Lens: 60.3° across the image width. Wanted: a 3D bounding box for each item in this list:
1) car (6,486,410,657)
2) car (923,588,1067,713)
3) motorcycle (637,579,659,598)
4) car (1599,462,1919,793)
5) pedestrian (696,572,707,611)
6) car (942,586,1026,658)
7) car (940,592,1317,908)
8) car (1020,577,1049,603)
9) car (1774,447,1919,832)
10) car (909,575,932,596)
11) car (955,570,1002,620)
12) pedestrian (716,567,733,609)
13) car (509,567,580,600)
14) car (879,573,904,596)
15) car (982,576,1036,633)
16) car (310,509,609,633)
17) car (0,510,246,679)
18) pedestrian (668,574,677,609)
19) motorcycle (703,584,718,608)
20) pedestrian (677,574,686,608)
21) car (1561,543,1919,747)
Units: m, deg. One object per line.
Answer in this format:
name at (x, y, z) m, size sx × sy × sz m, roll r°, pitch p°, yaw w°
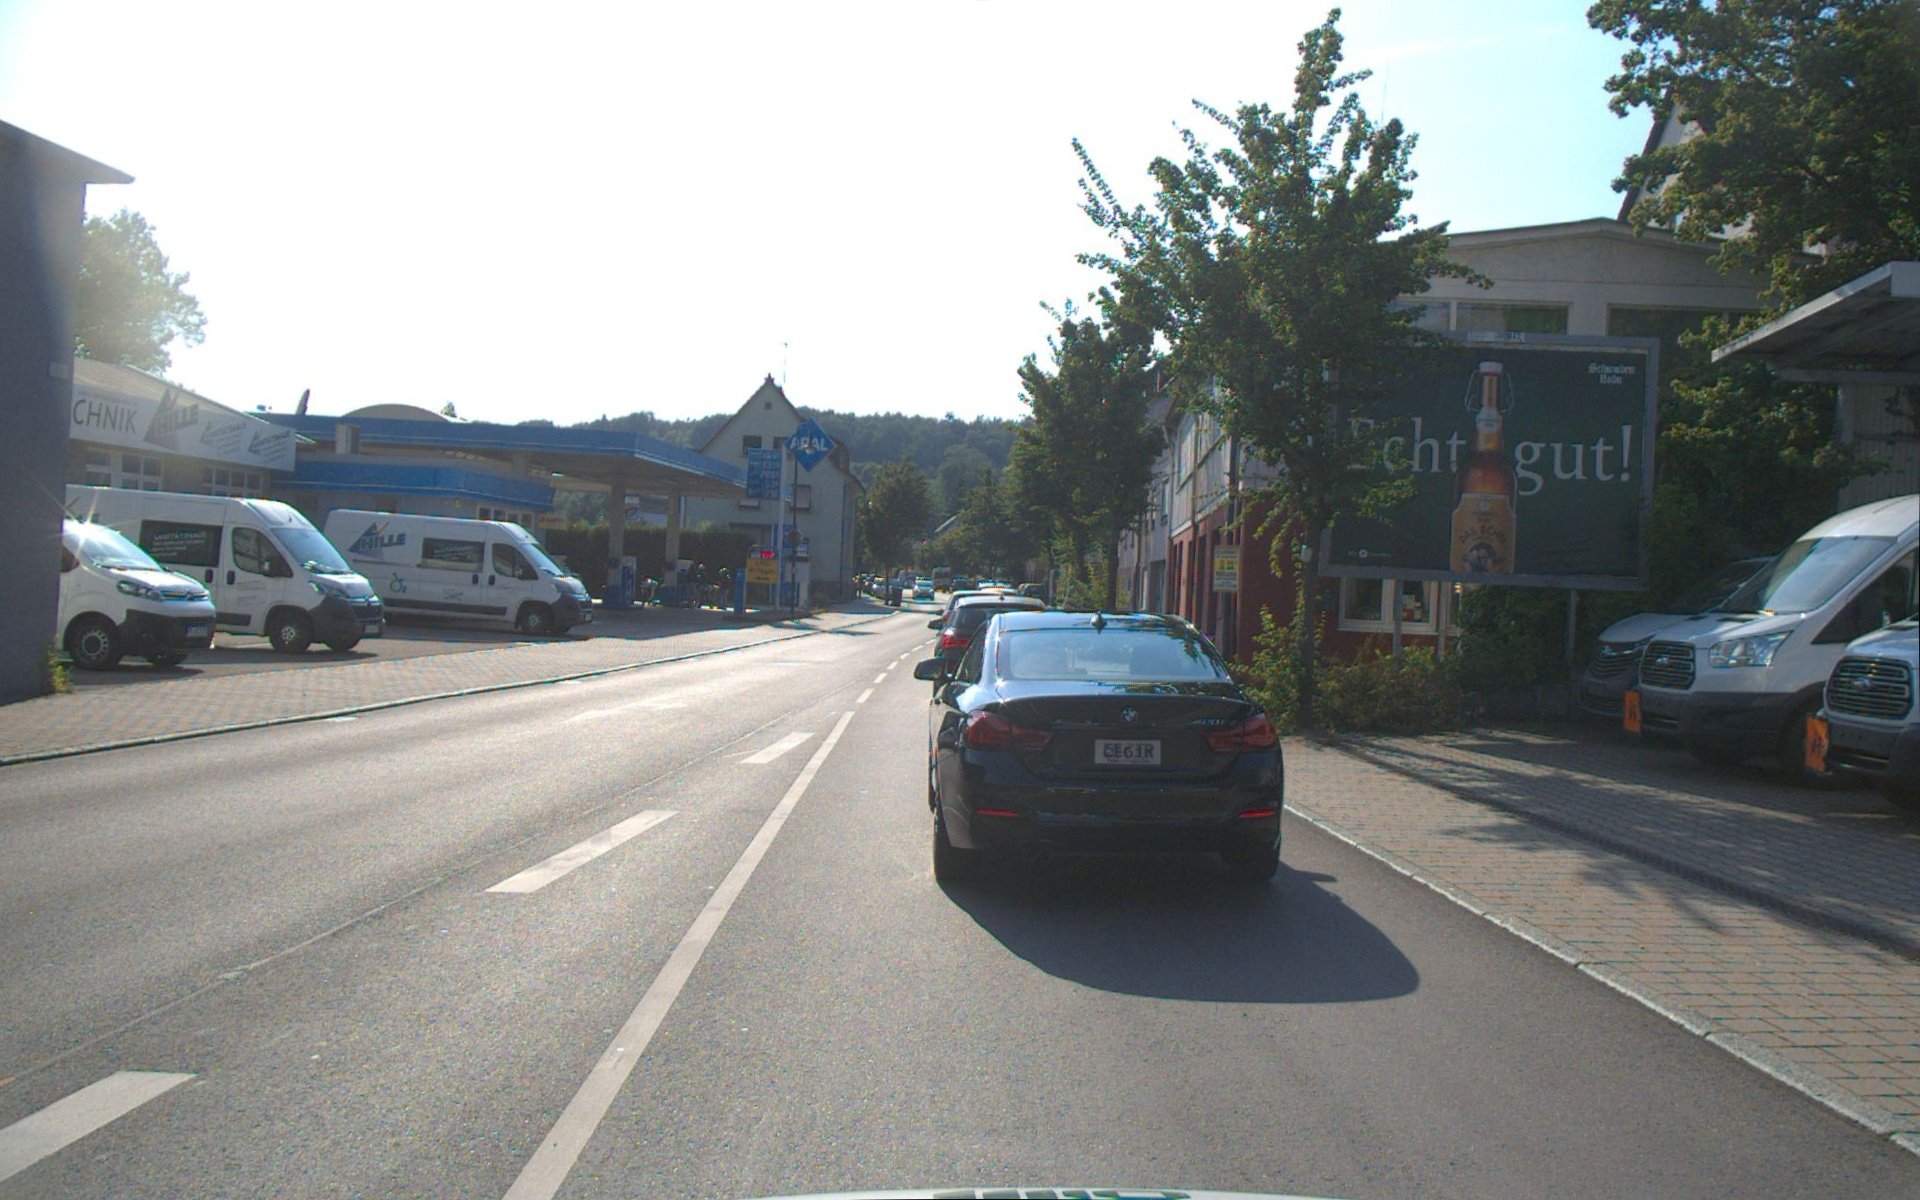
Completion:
car at (-12.599, -0.498, 27.936) m, size 5.795 × 2.523 × 2.195 m, roll 3°, pitch 1°, yaw 5°
car at (0.541, 0.610, 22.179) m, size 1.734 × 1.481 × 3.517 m, roll 2°, pitch 0°, yaw 4°
motorcycle at (-12.965, -0.480, 68.762) m, size 0.449 × 0.742 × 1.475 m, roll 2°, pitch 1°, yaw 8°
car at (8.819, 0.257, 14.102) m, size 5.922 × 2.560 × 2.043 m, roll 2°, pitch 1°, yaw -2°
pedestrian at (-10.744, -0.357, 68.752) m, size 0.399 × 1.574 × 0.432 m, roll 1°, pitch 1°, yaw -3°
car at (0.560, 0.447, 36.449) m, size 1.717 × 1.438 × 3.423 m, roll 2°, pitch 1°, yaw 2°
car at (0.759, 0.690, 9.807) m, size 1.665 × 1.392 × 4.261 m, roll 1°, pitch 1°, yaw -2°
car at (4.634, -0.649, 103.228) m, size 1.564 × 1.511 × 3.474 m, roll 2°, pitch 1°, yaw 0°
car at (8.954, 0.310, 11.138) m, size 5.922 × 2.404 × 2.043 m, roll 2°, pitch 1°, yaw -2°
car at (-2.996, -1.132, 125.938) m, size 1.564 × 1.511 × 3.474 m, roll 2°, pitch 1°, yaw 0°
car at (0.724, -0.207, 61.929) m, size 1.569 × 1.798 × 3.412 m, roll 2°, pitch 1°, yaw 3°
pedestrian at (-9.780, -0.492, 68.618) m, size 0.598 × 1.699 × 0.442 m, roll 1°, pitch 1°, yaw -3°
car at (-19.278, -0.780, 76.683) m, size 3.100 × 1.452 × 1.433 m, roll 1°, pitch 1°, yaw -17°
car at (-4.799, -1.102, 115.614) m, size 1.564 × 1.511 × 3.474 m, roll 2°, pitch 1°, yaw 0°
car at (1.510, 0.097, 50.471) m, size 1.559 × 1.628 × 3.894 m, roll 2°, pitch 1°, yaw 2°
car at (-11.332, -0.660, 37.771) m, size 6.032 × 2.487 × 2.250 m, roll 3°, pitch 1°, yaw 1°
car at (-12.362, -0.148, 21.952) m, size 4.872 × 2.034 × 1.936 m, roll 3°, pitch 0°, yaw 3°
pedestrian at (-11.738, -0.351, 67.569) m, size 0.281 × 1.390 × 0.262 m, roll 1°, pitch 1°, yaw -4°
motorcycle at (-10.318, -0.171, 68.305) m, size 0.356 × 0.960 × 1.695 m, roll 1°, pitch 1°, yaw -1°
pedestrian at (-11.477, -0.375, 68.185) m, size 0.256 × 1.407 × 0.288 m, roll 2°, pitch 1°, yaw 7°
car at (8.261, 0.441, 17.016) m, size 3.527 × 1.927 × 1.586 m, roll 2°, pitch 1°, yaw -3°
